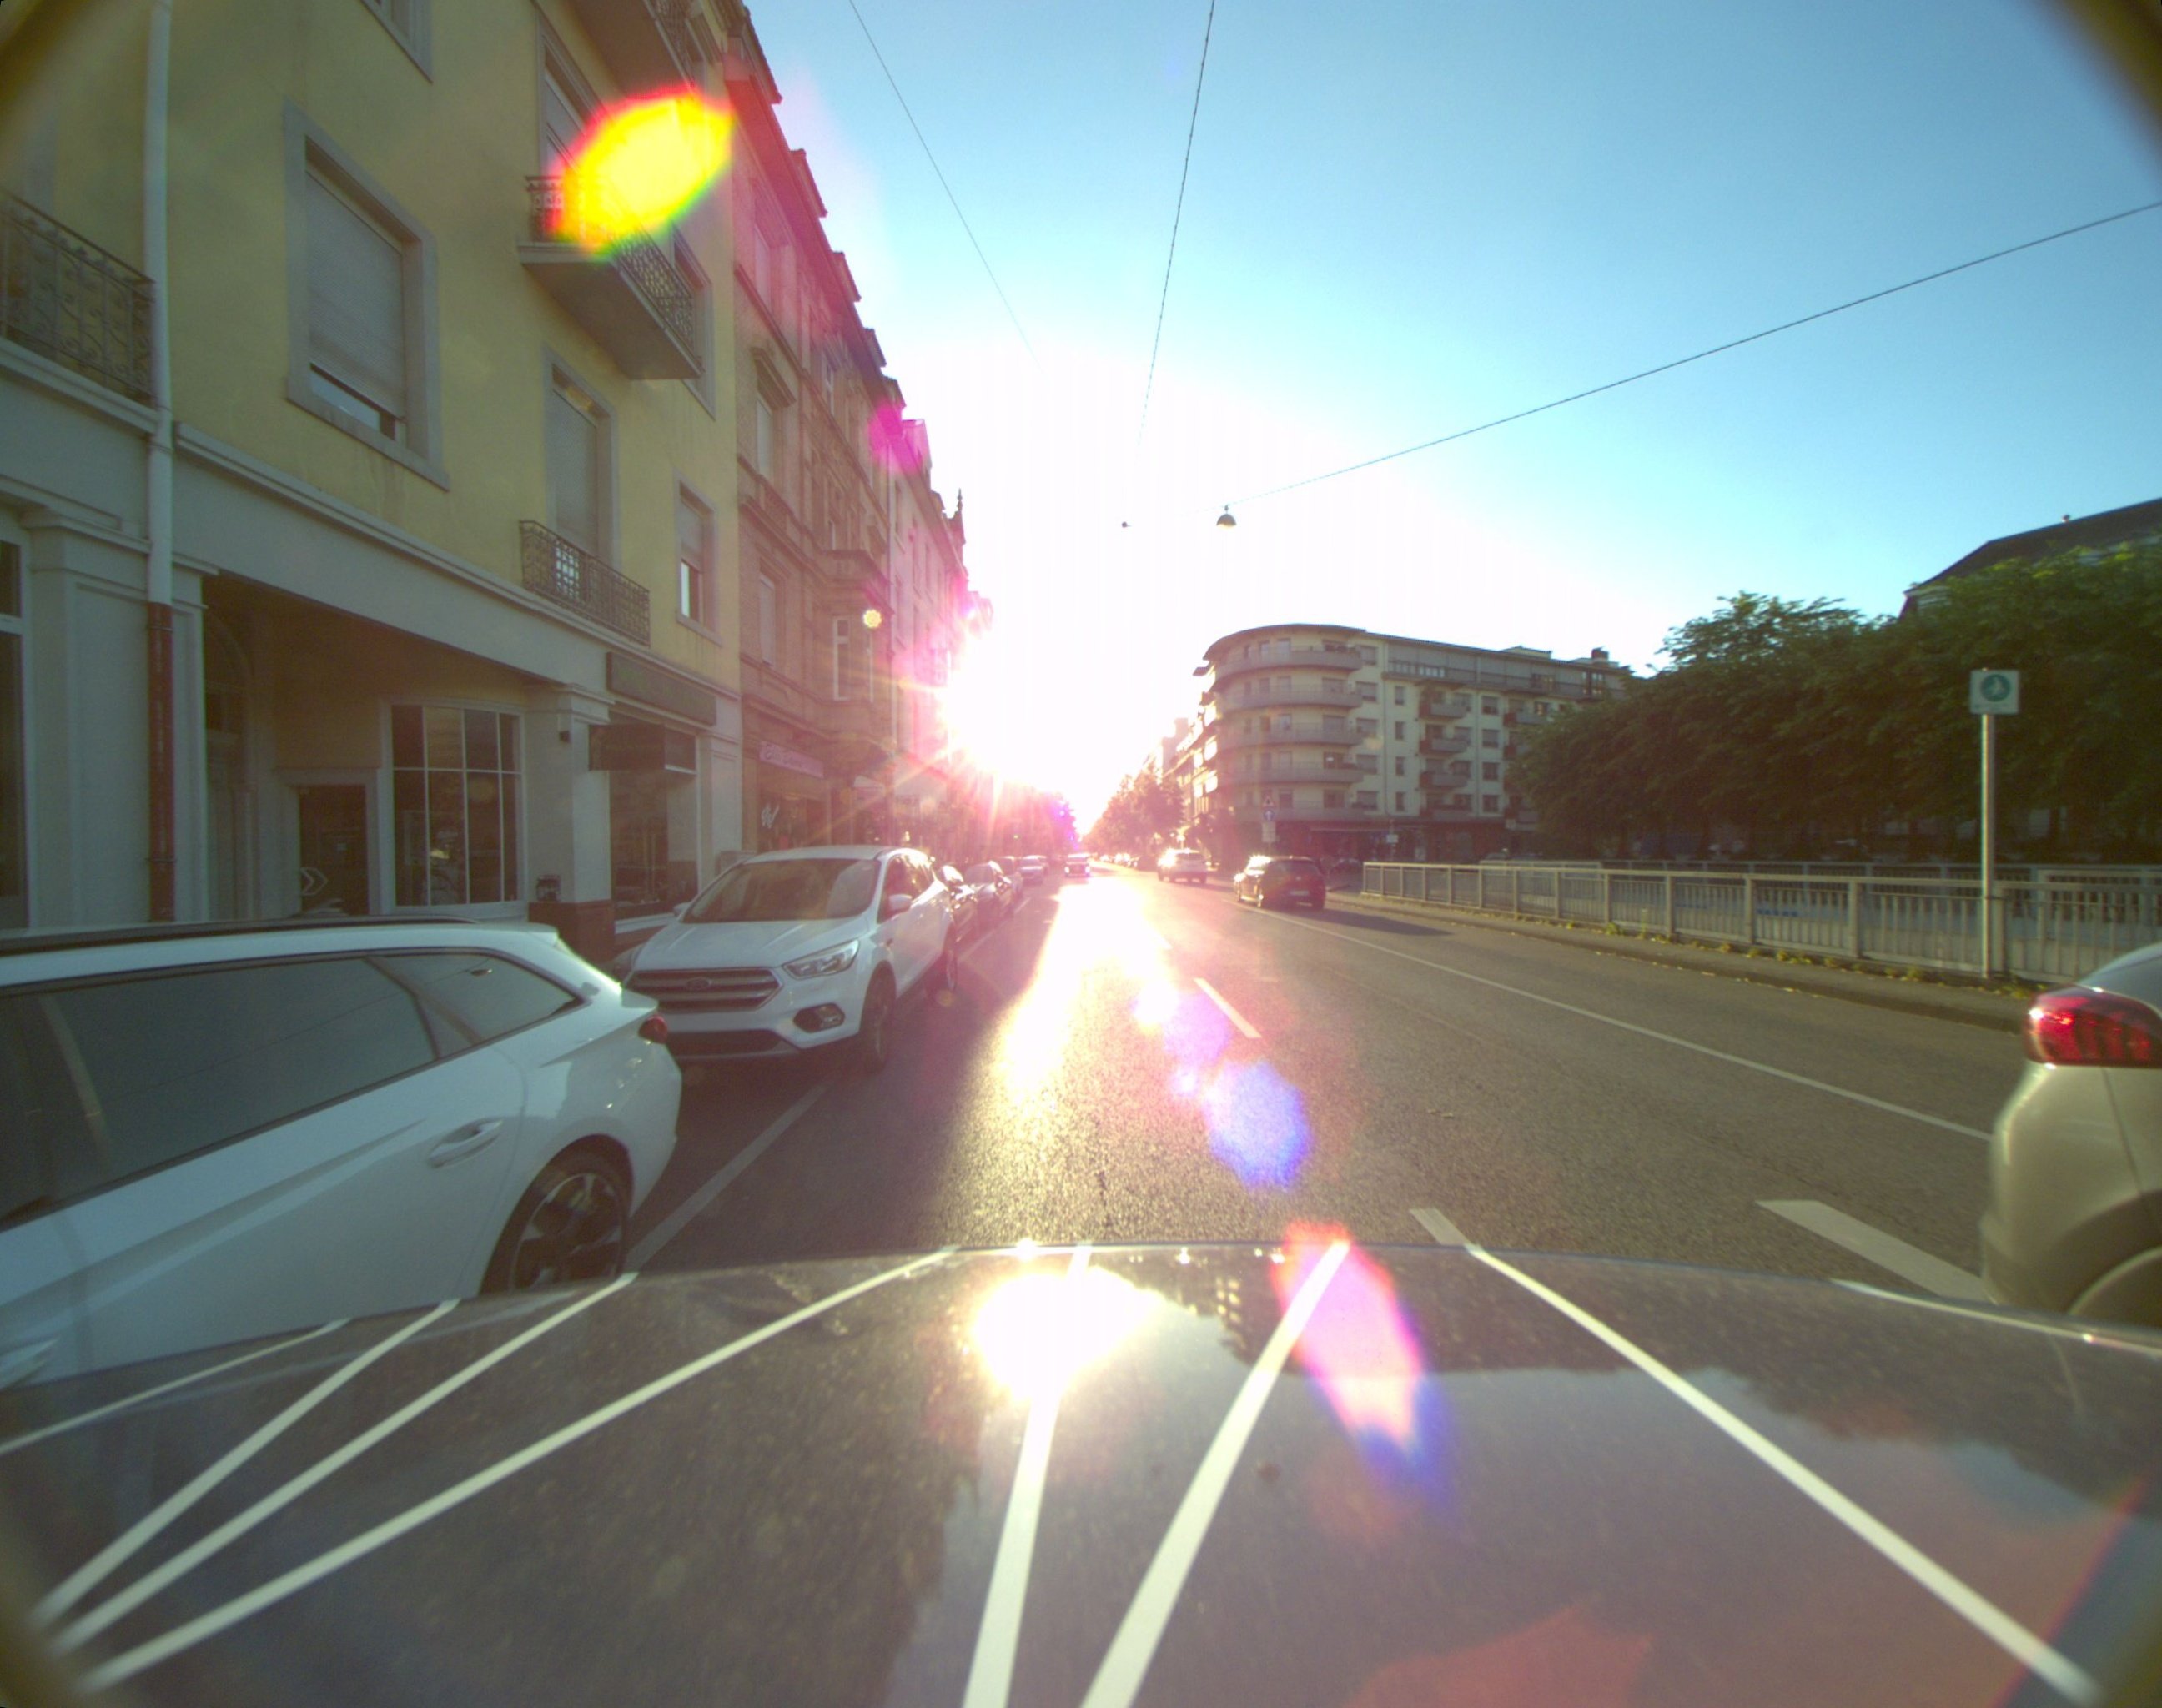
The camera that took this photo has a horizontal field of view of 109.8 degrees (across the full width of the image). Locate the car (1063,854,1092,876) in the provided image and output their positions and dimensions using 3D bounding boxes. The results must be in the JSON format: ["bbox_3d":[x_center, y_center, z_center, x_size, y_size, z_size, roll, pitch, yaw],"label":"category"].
[{"bbox_3d":[-0.266,0.765,53.639,1.908,1.438,4.449,-1,0,-1],"label":"car"}]

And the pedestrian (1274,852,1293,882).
[{"bbox_3d":[10.539,0.665,39.568,0.678,1.509,0.676,-2,1,-42],"label":"pedestrian"}]

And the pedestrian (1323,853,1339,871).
[{"bbox_3d":[18.219,0.593,55.334,0.733,1.314,0.888,-2,1,-13],"label":"pedestrian"}]

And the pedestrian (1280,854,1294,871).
[{"bbox_3d":[14.657,0.618,54.036,0.887,1.185,0.733,-1,1,10],"label":"pedestrian"}]

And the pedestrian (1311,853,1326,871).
[{"bbox_3d":[17.265,0.574,55.218,0.732,1.314,0.888,-1,1,-2],"label":"pedestrian"}]

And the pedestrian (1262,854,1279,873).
[{"bbox_3d":[13.454,0.670,53.960,0.890,1.314,0.731,-2,1,-27],"label":"pedestrian"}]

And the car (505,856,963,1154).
[{"bbox_3d":[-2.362,0.886,6.635,1.877,1.664,4.430,-1,0,1],"label":"car"}]

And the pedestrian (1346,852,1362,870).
[{"bbox_3d":[20.227,0.535,56.316,0.733,1.314,0.887,-2,1,-15],"label":"pedestrian"}]

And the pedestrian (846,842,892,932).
[{"bbox_3d":[-4.867,0.745,17.512,0.763,2.002,0.851,-1,1,1],"label":"pedestrian"}]

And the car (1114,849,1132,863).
[{"bbox_3d":[5.664,0.290,102.656,1.999,1.805,3.999,-1,0,-1],"label":"car"}]

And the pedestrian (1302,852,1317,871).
[{"bbox_3d":[16.577,0.554,55.116,0.732,1.314,0.888,-1,1,-1],"label":"pedestrian"}]

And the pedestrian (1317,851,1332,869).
[{"bbox_3d":[18.153,0.473,56.582,0.688,1.314,0.819,-2,1,-24],"label":"pedestrian"}]

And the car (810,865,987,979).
[{"bbox_3d":[-2.765,0.959,12.609,1.908,1.421,4.449,-1,0,-1],"label":"car"}]

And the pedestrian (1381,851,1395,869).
[{"bbox_3d":[23.350,0.471,57.768,0.731,1.314,0.890,-1,1,39],"label":"pedestrian"}]

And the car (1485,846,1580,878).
[{"bbox_3d":[24.765,0.409,41.816,2.003,1.642,3.991,-2,0,-29],"label":"car"}]

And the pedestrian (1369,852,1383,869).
[{"bbox_3d":[22.638,0.480,58.295,0.731,1.314,0.890,-1,1,39],"label":"pedestrian"}]

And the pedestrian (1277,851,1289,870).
[{"bbox_3d":[14.674,0.467,55.156,0.677,1.314,0.611,-1,1,-1],"label":"pedestrian"}]

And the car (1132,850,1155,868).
[{"bbox_3d":[6.623,0.462,80.444,1.999,1.805,3.999,-1,0,-1],"label":"car"}]

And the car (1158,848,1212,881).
[{"bbox_3d":[5.412,0.522,40.069,1.878,1.621,4.176,1,0,-5],"label":"car"}]

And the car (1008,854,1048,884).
[{"bbox_3d":[-2.778,0.763,40.534,1.908,1.421,4.449,-1,0,-1],"label":"car"}]

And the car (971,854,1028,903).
[{"bbox_3d":[-2.876,0.821,27.470,1.645,1.574,4.201,-1,0,-1],"label":"car"}]

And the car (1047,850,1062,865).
[{"bbox_3d":[-3.678,0.470,106.142,1.999,1.806,3.997,-1,2,-4],"label":"car"}]

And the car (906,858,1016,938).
[{"bbox_3d":[-2.638,0.914,17.756,1.908,1.531,4.449,-1,0,-1],"label":"car"}]

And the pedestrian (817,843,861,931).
[{"bbox_3d":[-5.613,0.748,17.678,0.673,2.002,0.851,-1,1,1],"label":"pedestrian"}]

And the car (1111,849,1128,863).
[{"bbox_3d":[5.418,0.267,107.427,1.999,1.805,3.999,-1,0,-1],"label":"car"}]

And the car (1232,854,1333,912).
[{"bbox_3d":[5.691,0.771,21.913,1.790,1.458,3.956,0,1,-1],"label":"car"}]

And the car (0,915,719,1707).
[{"bbox_3d":[-2.490,1.019,0.992,1.738,1.448,4.610,-1,0,1],"label":"car"}]
